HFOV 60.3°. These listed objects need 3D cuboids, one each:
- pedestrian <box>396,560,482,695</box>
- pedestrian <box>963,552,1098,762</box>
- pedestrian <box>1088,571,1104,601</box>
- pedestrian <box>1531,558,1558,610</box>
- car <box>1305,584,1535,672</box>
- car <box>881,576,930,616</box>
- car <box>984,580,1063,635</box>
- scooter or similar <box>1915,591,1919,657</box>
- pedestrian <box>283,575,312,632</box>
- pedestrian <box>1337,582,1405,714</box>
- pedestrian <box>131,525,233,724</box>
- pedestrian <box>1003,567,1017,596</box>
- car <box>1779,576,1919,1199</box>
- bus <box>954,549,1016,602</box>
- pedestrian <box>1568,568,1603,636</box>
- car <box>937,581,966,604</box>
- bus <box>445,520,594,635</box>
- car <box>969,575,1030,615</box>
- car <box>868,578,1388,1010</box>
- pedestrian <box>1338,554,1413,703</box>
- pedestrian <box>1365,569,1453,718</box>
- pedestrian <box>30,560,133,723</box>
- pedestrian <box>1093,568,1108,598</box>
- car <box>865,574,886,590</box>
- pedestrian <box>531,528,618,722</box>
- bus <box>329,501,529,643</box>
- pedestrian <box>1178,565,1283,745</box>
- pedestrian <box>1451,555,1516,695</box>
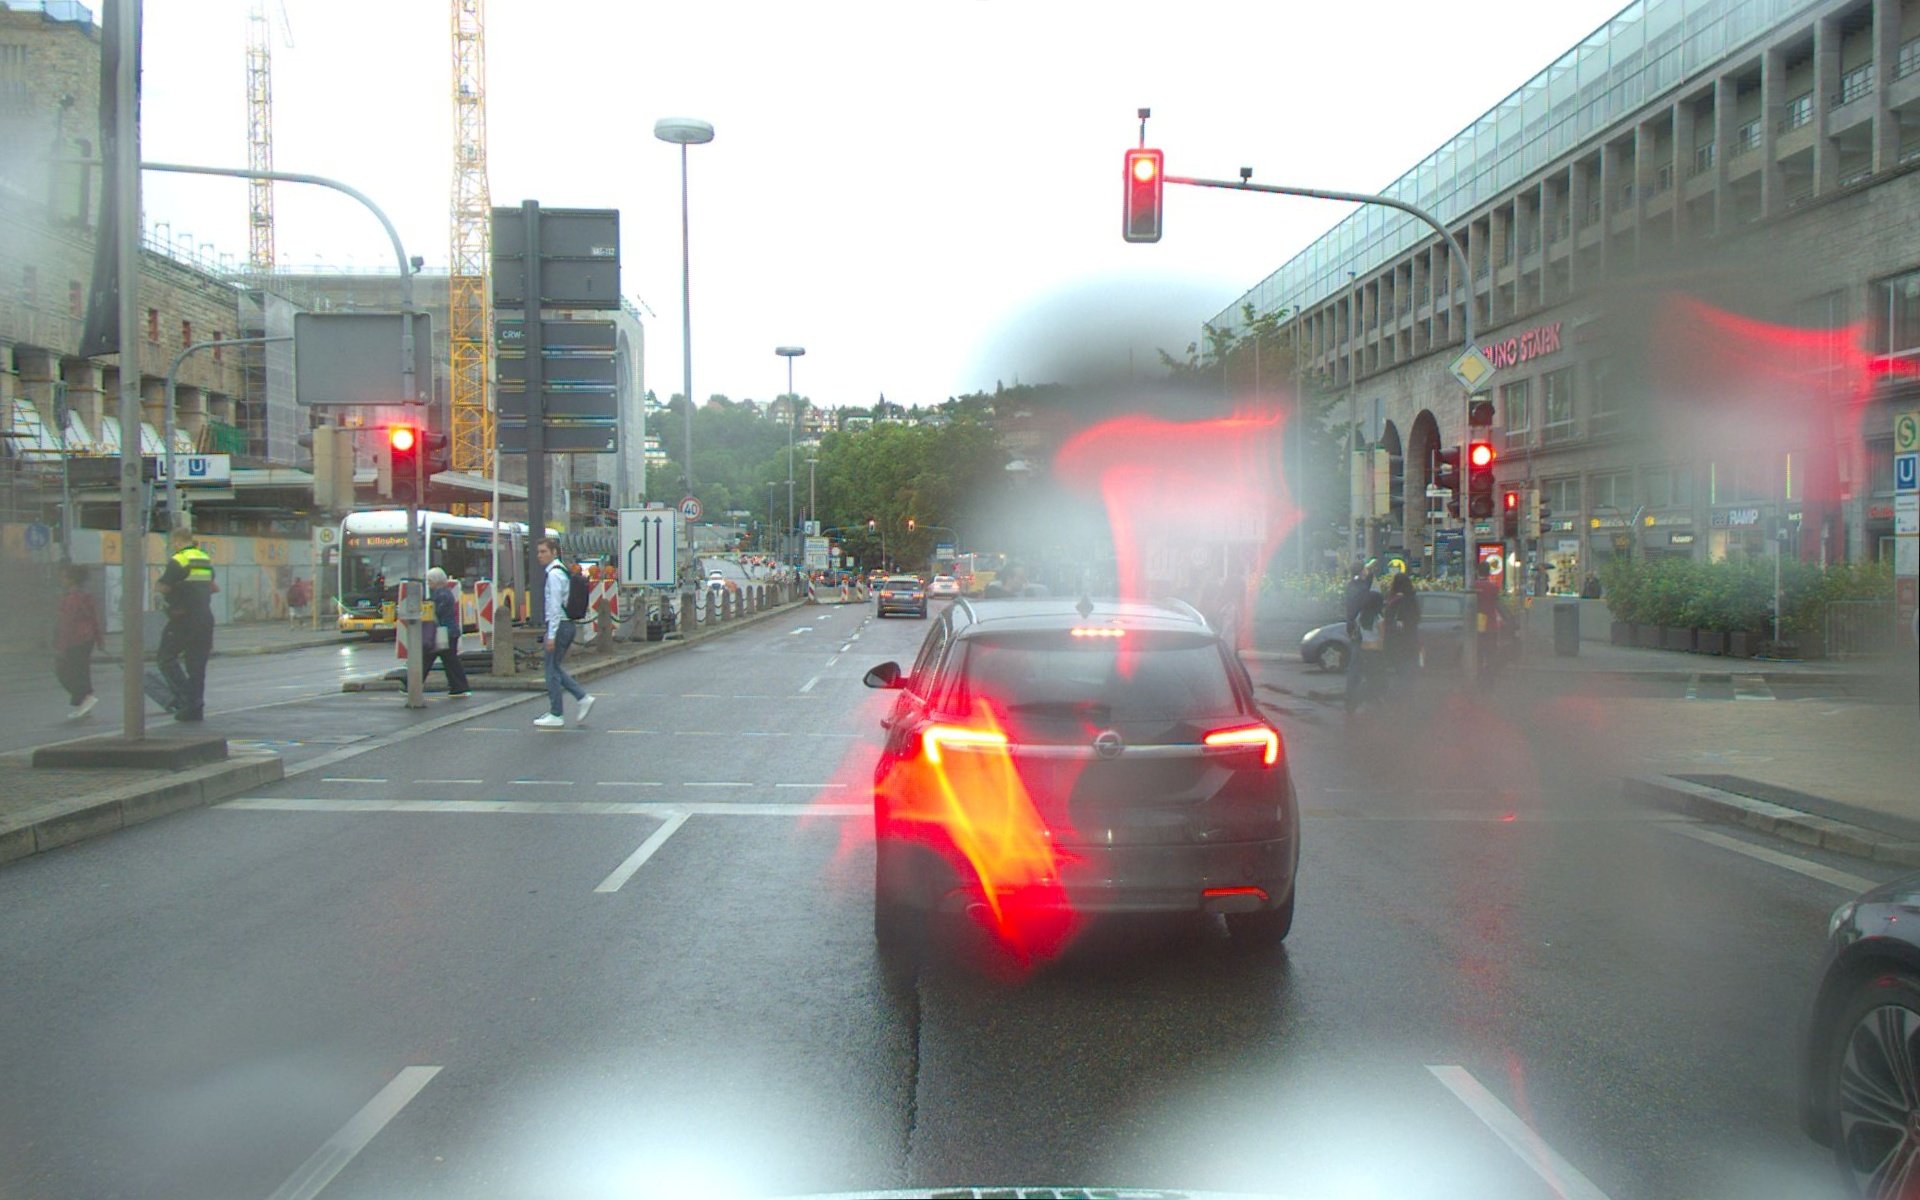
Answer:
[{"bbox_3d":[-6.290,0.325,19.955,0.862,1.588,0.780,1,0,-26],"label":"pedestrian"},{"bbox_3d":[0.615,0.496,14.694,1.074,1.782,0.653,-2,0,-4],"label":"pedestrian"},{"bbox_3d":[7.871,-0.810,95.727,0.748,1.720,0.824,1,0,-5],"label":"pedestrian"},{"bbox_3d":[23.510,-0.649,66.530,0.747,2.049,0.825,1,0,-1],"label":"pedestrian"},{"bbox_3d":[8.152,0.468,29.317,3.587,1.422,1.848,1,0,30],"label":"car"},{"bbox_3d":[-2.040,-0.143,61.818,1.718,1.422,4.536,1,0,-2],"label":"car"},{"bbox_3d":[1.704,0.195,45.896,1.718,1.422,4.645,1,0,-3],"label":"car"},{"bbox_3d":[17.863,0.447,29.972,0.285,1.210,1.014,1,0,-19],"label":"scooter or similar"},{"bbox_3d":[-21.795,0.112,54.415,0.648,1.887,0.798,0,0,-1],"label":"pedestrian"},{"bbox_3d":[4.756,0.552,19.139,0.665,1.500,0.366,1,0,-6],"label":"pedestrian"},{"bbox_3d":[-7.521,0.231,16.023,0.566,1.868,0.819,1,0,-1],"label":"pedestrian"},{"bbox_3d":[4.321,-1.606,142.575,1.174,2.478,1.228,1,0,0],"label":"pedestrian"},{"bbox_3d":[3.062,0.726,2.006,1.757,1.528,4.627,1,0,-1],"label":"car"},{"bbox_3d":[1.703,-1.683,121.179,4.089,3.529,14.651,1,0,-1],"label":"bus"},{"bbox_3d":[18.868,0.057,49.892,0.751,2.049,0.820,1,0,41],"label":"pedestrian"},{"bbox_3d":[-0.572,-0.465,105.361,1.808,1.422,3.563,1,0,-1],"label":"car"},{"bbox_3d":[-15.372,-0.727,58.566,2.614,3.665,10.209,1,0,-1],"label":"bus"},{"bbox_3d":[1.445,-0.185,62.107,1.719,1.422,4.396,1,0,-6],"label":"car"},{"bbox_3d":[0.561,0.695,7.898,1.837,1.512,3.999,1,0,-1],"label":"car"},{"bbox_3d":[4.955,0.334,19.729,0.740,1.747,0.466,1,0,-5],"label":"pedestrian"},{"bbox_3d":[5.055,0.479,18.643,0.783,1.636,0.619,1,0,-5],"label":"pedestrian"},{"bbox_3d":[-9.689,0.445,18.254,0.783,1.747,0.619,-1,0,-5],"label":"pedestrian"},{"bbox_3d":[8.022,-0.966,94.462,0.748,1.720,0.824,1,0,-5],"label":"pedestrian"},{"bbox_3d":[-7.650,-1.601,150.206,1.723,1.422,3.563,1,0,-1],"label":"car"},{"bbox_3d":[-3.920,0.253,16.850,0.784,1.923,0.619,1,0,-9],"label":"pedestrian"},{"bbox_3d":[-15.214,-0.726,48.383,2.614,3.665,10.237,1,0,-1],"label":"bus"},{"bbox_3d":[2.564,0.514,15.772,0.778,1.654,0.899,1,0,-4],"label":"pedestrian"},{"bbox_3d":[6.802,0.323,21.475,0.560,1.783,0.676,1,0,42],"label":"pedestrian"}]
